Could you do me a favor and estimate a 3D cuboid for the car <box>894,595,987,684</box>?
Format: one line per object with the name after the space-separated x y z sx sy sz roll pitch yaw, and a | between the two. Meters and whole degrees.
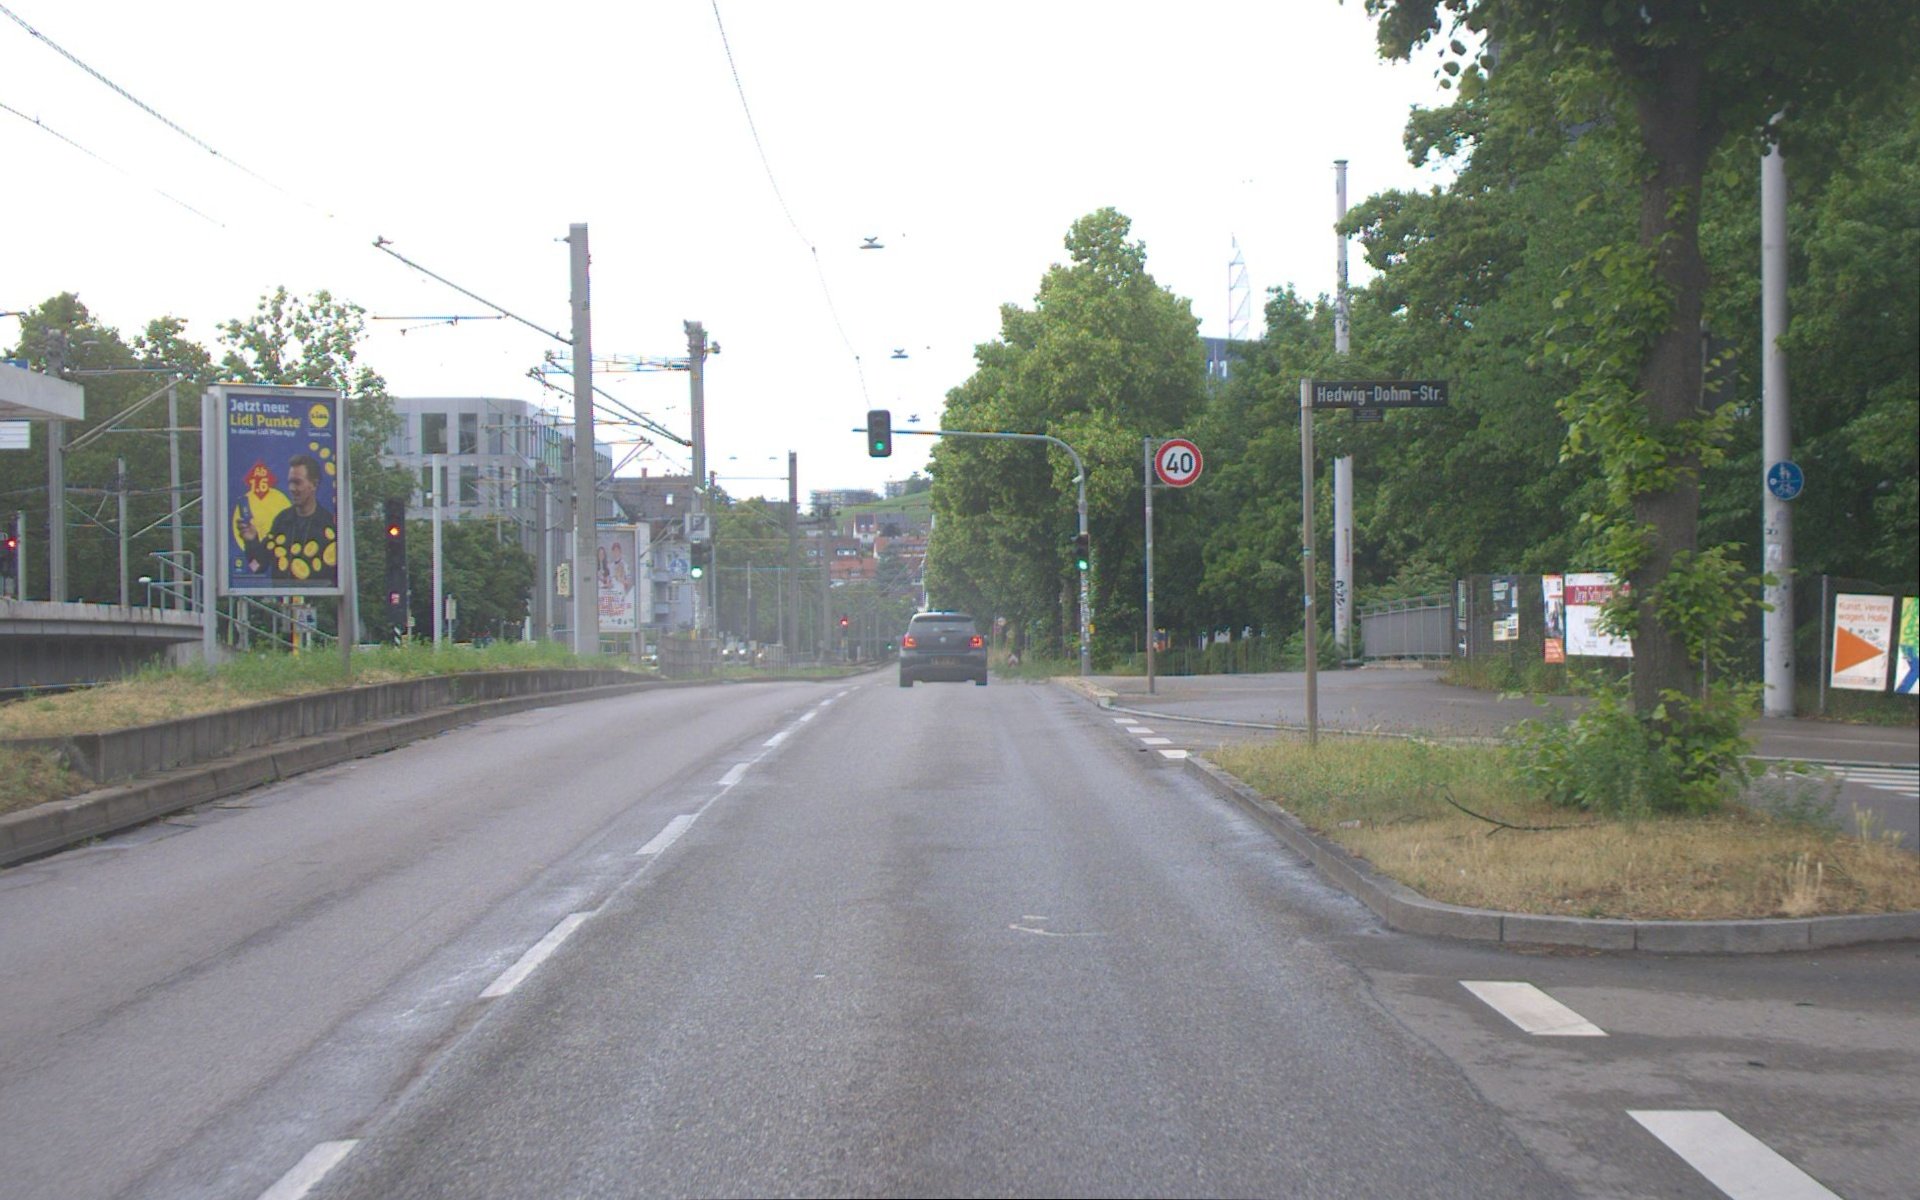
-0.383 0.739 65.892 1.726 1.535 4.000 0 2 -1 | car

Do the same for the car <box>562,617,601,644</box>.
-25.096 2.010 227.944 1.850 1.626 3.609 2 1 5 | car
